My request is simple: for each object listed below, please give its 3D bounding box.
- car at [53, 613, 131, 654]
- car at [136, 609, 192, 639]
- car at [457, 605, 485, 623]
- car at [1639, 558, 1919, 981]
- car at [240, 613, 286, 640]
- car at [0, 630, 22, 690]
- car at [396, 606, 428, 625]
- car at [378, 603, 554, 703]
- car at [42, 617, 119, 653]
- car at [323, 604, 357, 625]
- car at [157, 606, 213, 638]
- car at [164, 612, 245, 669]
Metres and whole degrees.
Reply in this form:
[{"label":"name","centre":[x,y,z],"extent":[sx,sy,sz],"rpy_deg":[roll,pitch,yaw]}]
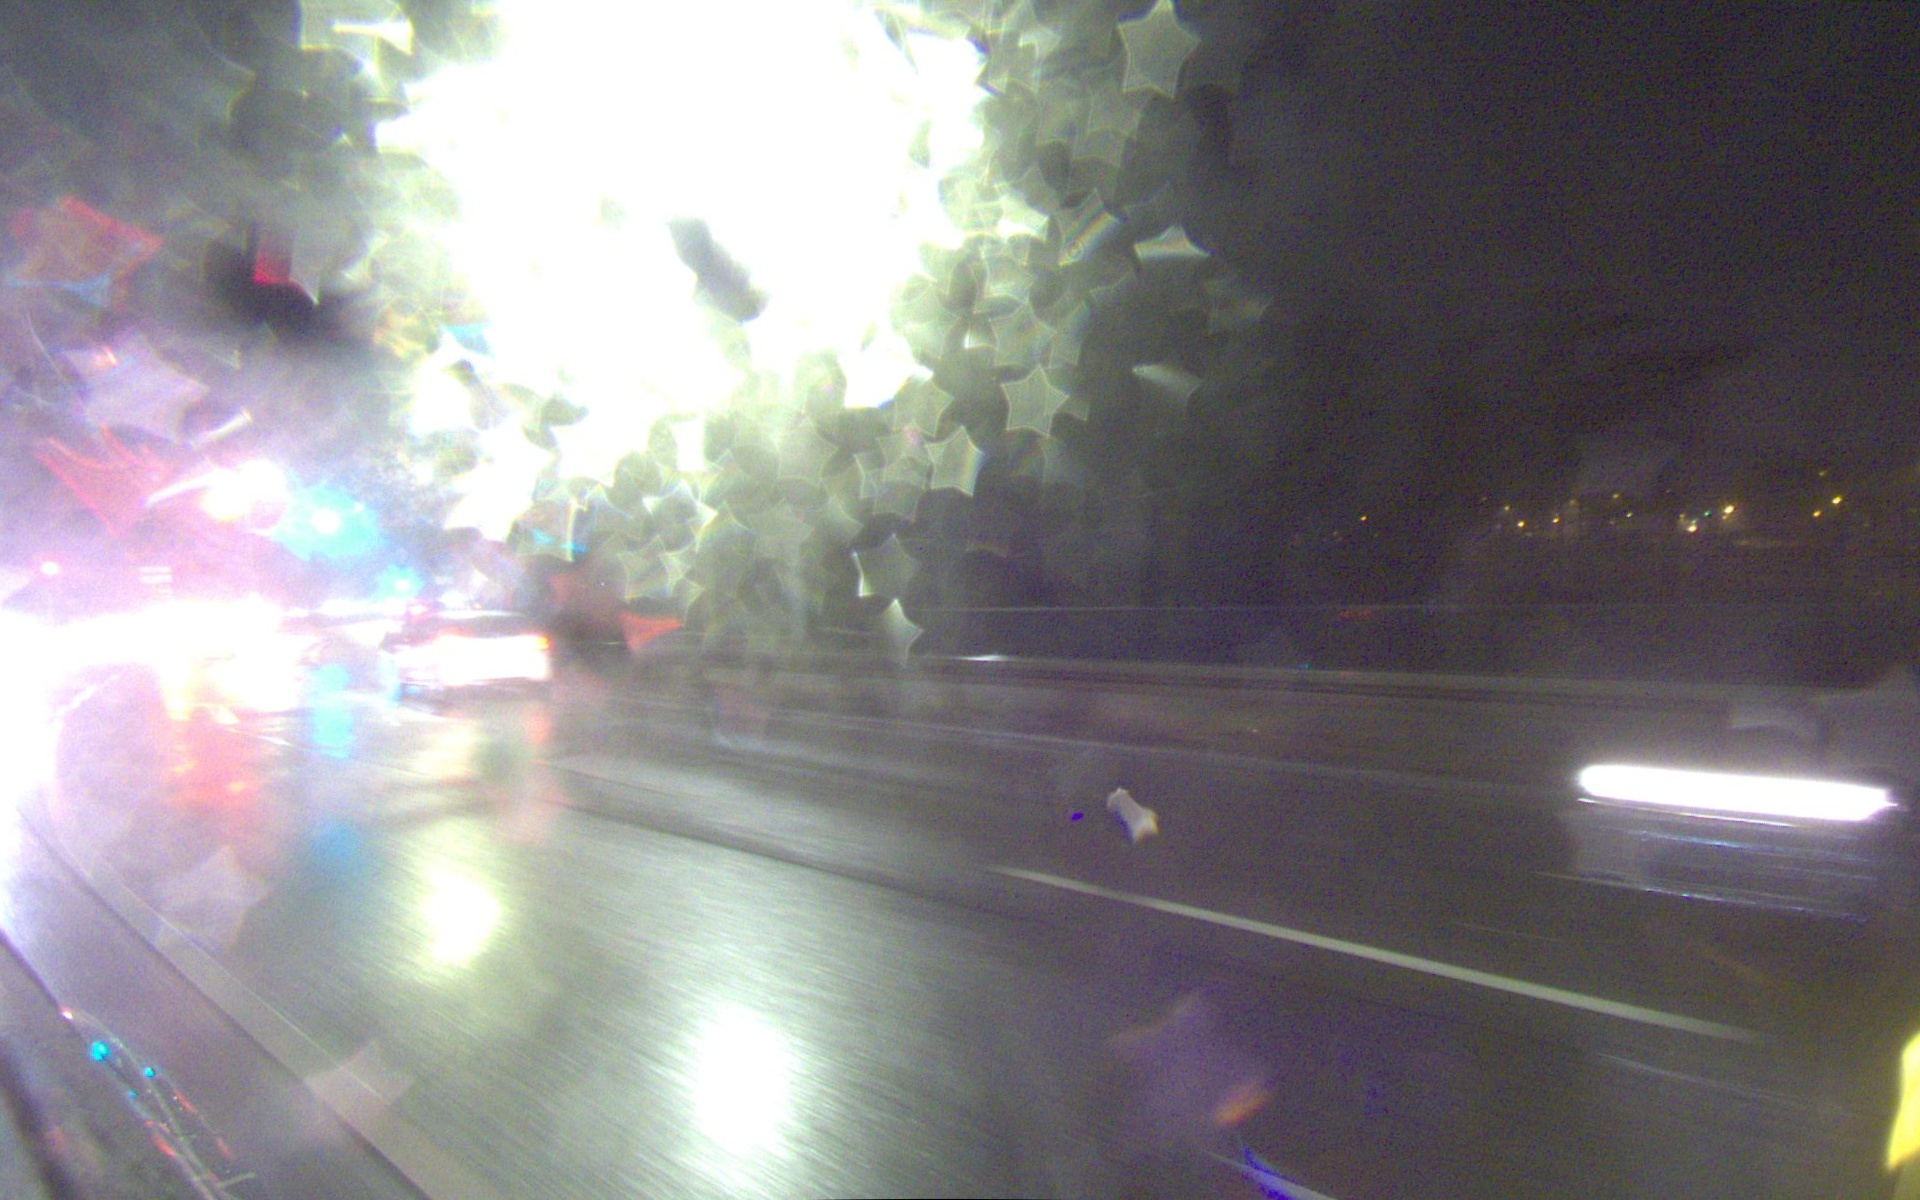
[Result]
[{"label":"car","centre":[-46.803,1.764,54.688],"extent":[1.965,2.029,4.013],"rpy_deg":[-2,0,-22]},{"label":"car","centre":[-56.749,1.684,72.243],"extent":[1.838,2.029,4.012],"rpy_deg":[-2,0,-19]},{"label":"car","centre":[-48.017,1.403,99.445],"extent":[1.957,1.617,4.848],"rpy_deg":[-1,-1,-19]},{"label":"car","centre":[4.826,0.565,3.246],"extent":[4.217,1.438,1.748],"rpy_deg":[-1,-1,41]},{"label":"car","centre":[-55.799,2.108,81.079],"extent":[1.838,2.029,4.012],"rpy_deg":[-2,0,-17]},{"label":"car","centre":[-39.596,2.492,40.777],"extent":[1.968,2.027,4.010],"rpy_deg":[-8,8,-36]},{"label":"car","centre":[-46.973,1.349,86.774],"extent":[1.957,1.617,4.849],"rpy_deg":[-1,-1,-23]},{"label":"car","centre":[-8.779,0.861,17.840],"extent":[1.745,1.529,3.953],"rpy_deg":[-1,0,-42]},{"label":"car","centre":[-54.325,2.111,62.604],"extent":[1.967,2.029,4.011],"rpy_deg":[-2,0,-14]},{"label":"car","centre":[-64.276,1.494,104.977],"extent":[1.839,2.029,4.011],"rpy_deg":[-2,0,-15]},{"label":"car","centre":[-51.719,1.465,67.635],"extent":[1.838,2.029,4.013],"rpy_deg":[-2,0,-20]},{"label":"car","centre":[-25.141,1.284,33.799],"extent":[1.972,1.687,4.628],"rpy_deg":[-2,0,-35]}]
